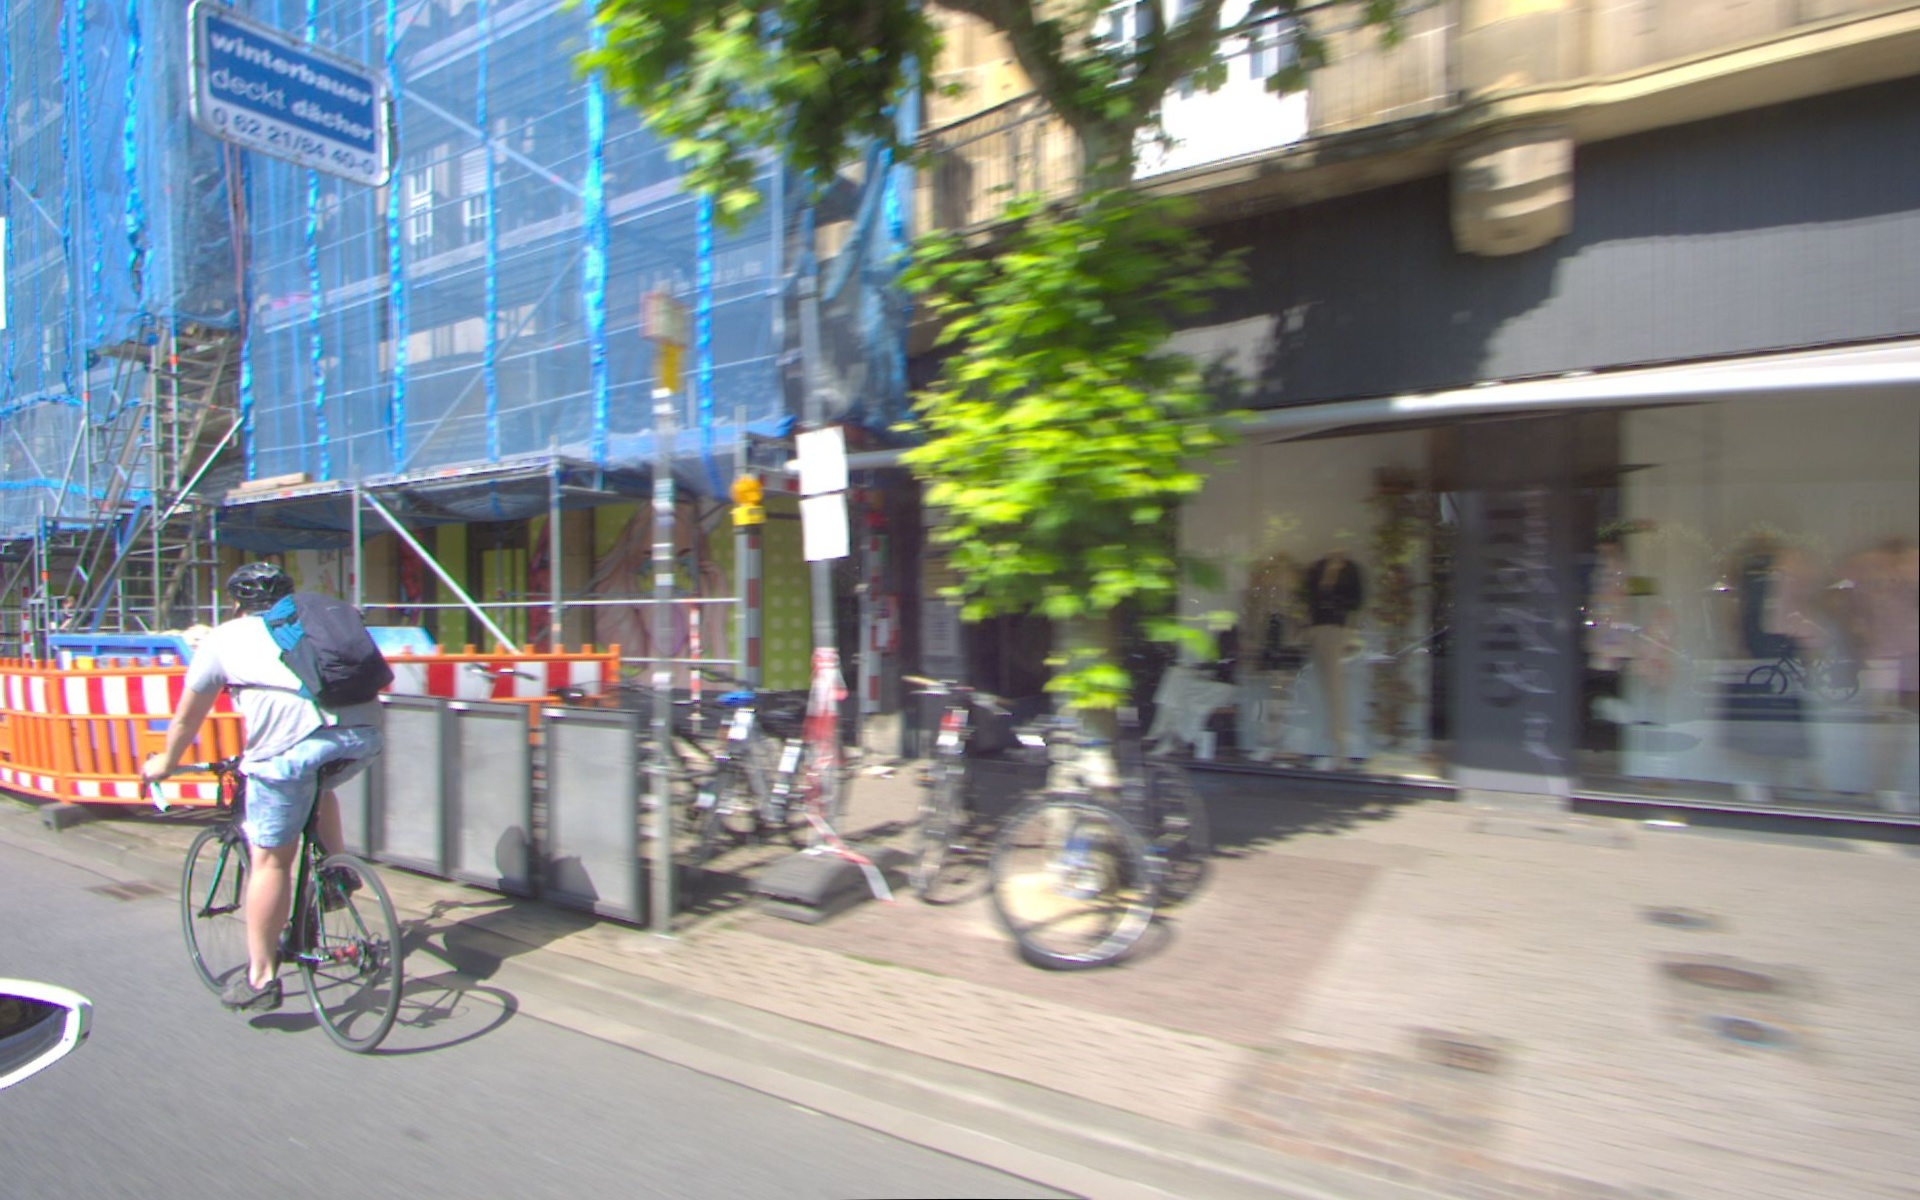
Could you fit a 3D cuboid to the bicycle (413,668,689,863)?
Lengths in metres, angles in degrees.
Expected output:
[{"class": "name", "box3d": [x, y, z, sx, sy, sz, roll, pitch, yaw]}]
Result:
[{"class": "bicycle", "box3d": [-2.587, 0.997, 6.551, 0.475, 1.031, 1.751, 0, -1, 30]}]

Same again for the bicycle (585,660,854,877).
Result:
[{"class": "bicycle", "box3d": [-1.335, 0.899, 5.918, 0.475, 1.031, 1.751, 0, -1, 30]}]

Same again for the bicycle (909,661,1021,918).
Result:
[{"class": "bicycle", "box3d": [0.022, 0.880, 5.235, 0.473, 1.031, 1.758, 1, -1, 0]}]

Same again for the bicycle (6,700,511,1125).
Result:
[{"class": "bicycle", "box3d": [-2.675, 0.983, 3.745, 2.099, 1.106, 0.733, -1, -3, 31]}]

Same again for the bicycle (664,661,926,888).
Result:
[{"class": "bicycle", "box3d": [-0.856, 0.893, 5.695, 0.475, 1.031, 1.751, 0, -1, 30]}]

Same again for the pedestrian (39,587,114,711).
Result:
[{"class": "pedestrian", "box3d": [-13.264, 0.730, 15.032, 0.640, 1.798, 0.638, 0, -2, 32]}]

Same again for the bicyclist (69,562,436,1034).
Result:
[{"class": "bicyclist", "box3d": [-2.641, 0.644, 3.745, 1.126, 1.481, 0.688, 0, -2, 31]}]

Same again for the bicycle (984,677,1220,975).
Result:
[{"class": "bicycle", "box3d": [0.736, 0.916, 4.651, 0.475, 1.031, 1.751, 0, -1, 30]}]
